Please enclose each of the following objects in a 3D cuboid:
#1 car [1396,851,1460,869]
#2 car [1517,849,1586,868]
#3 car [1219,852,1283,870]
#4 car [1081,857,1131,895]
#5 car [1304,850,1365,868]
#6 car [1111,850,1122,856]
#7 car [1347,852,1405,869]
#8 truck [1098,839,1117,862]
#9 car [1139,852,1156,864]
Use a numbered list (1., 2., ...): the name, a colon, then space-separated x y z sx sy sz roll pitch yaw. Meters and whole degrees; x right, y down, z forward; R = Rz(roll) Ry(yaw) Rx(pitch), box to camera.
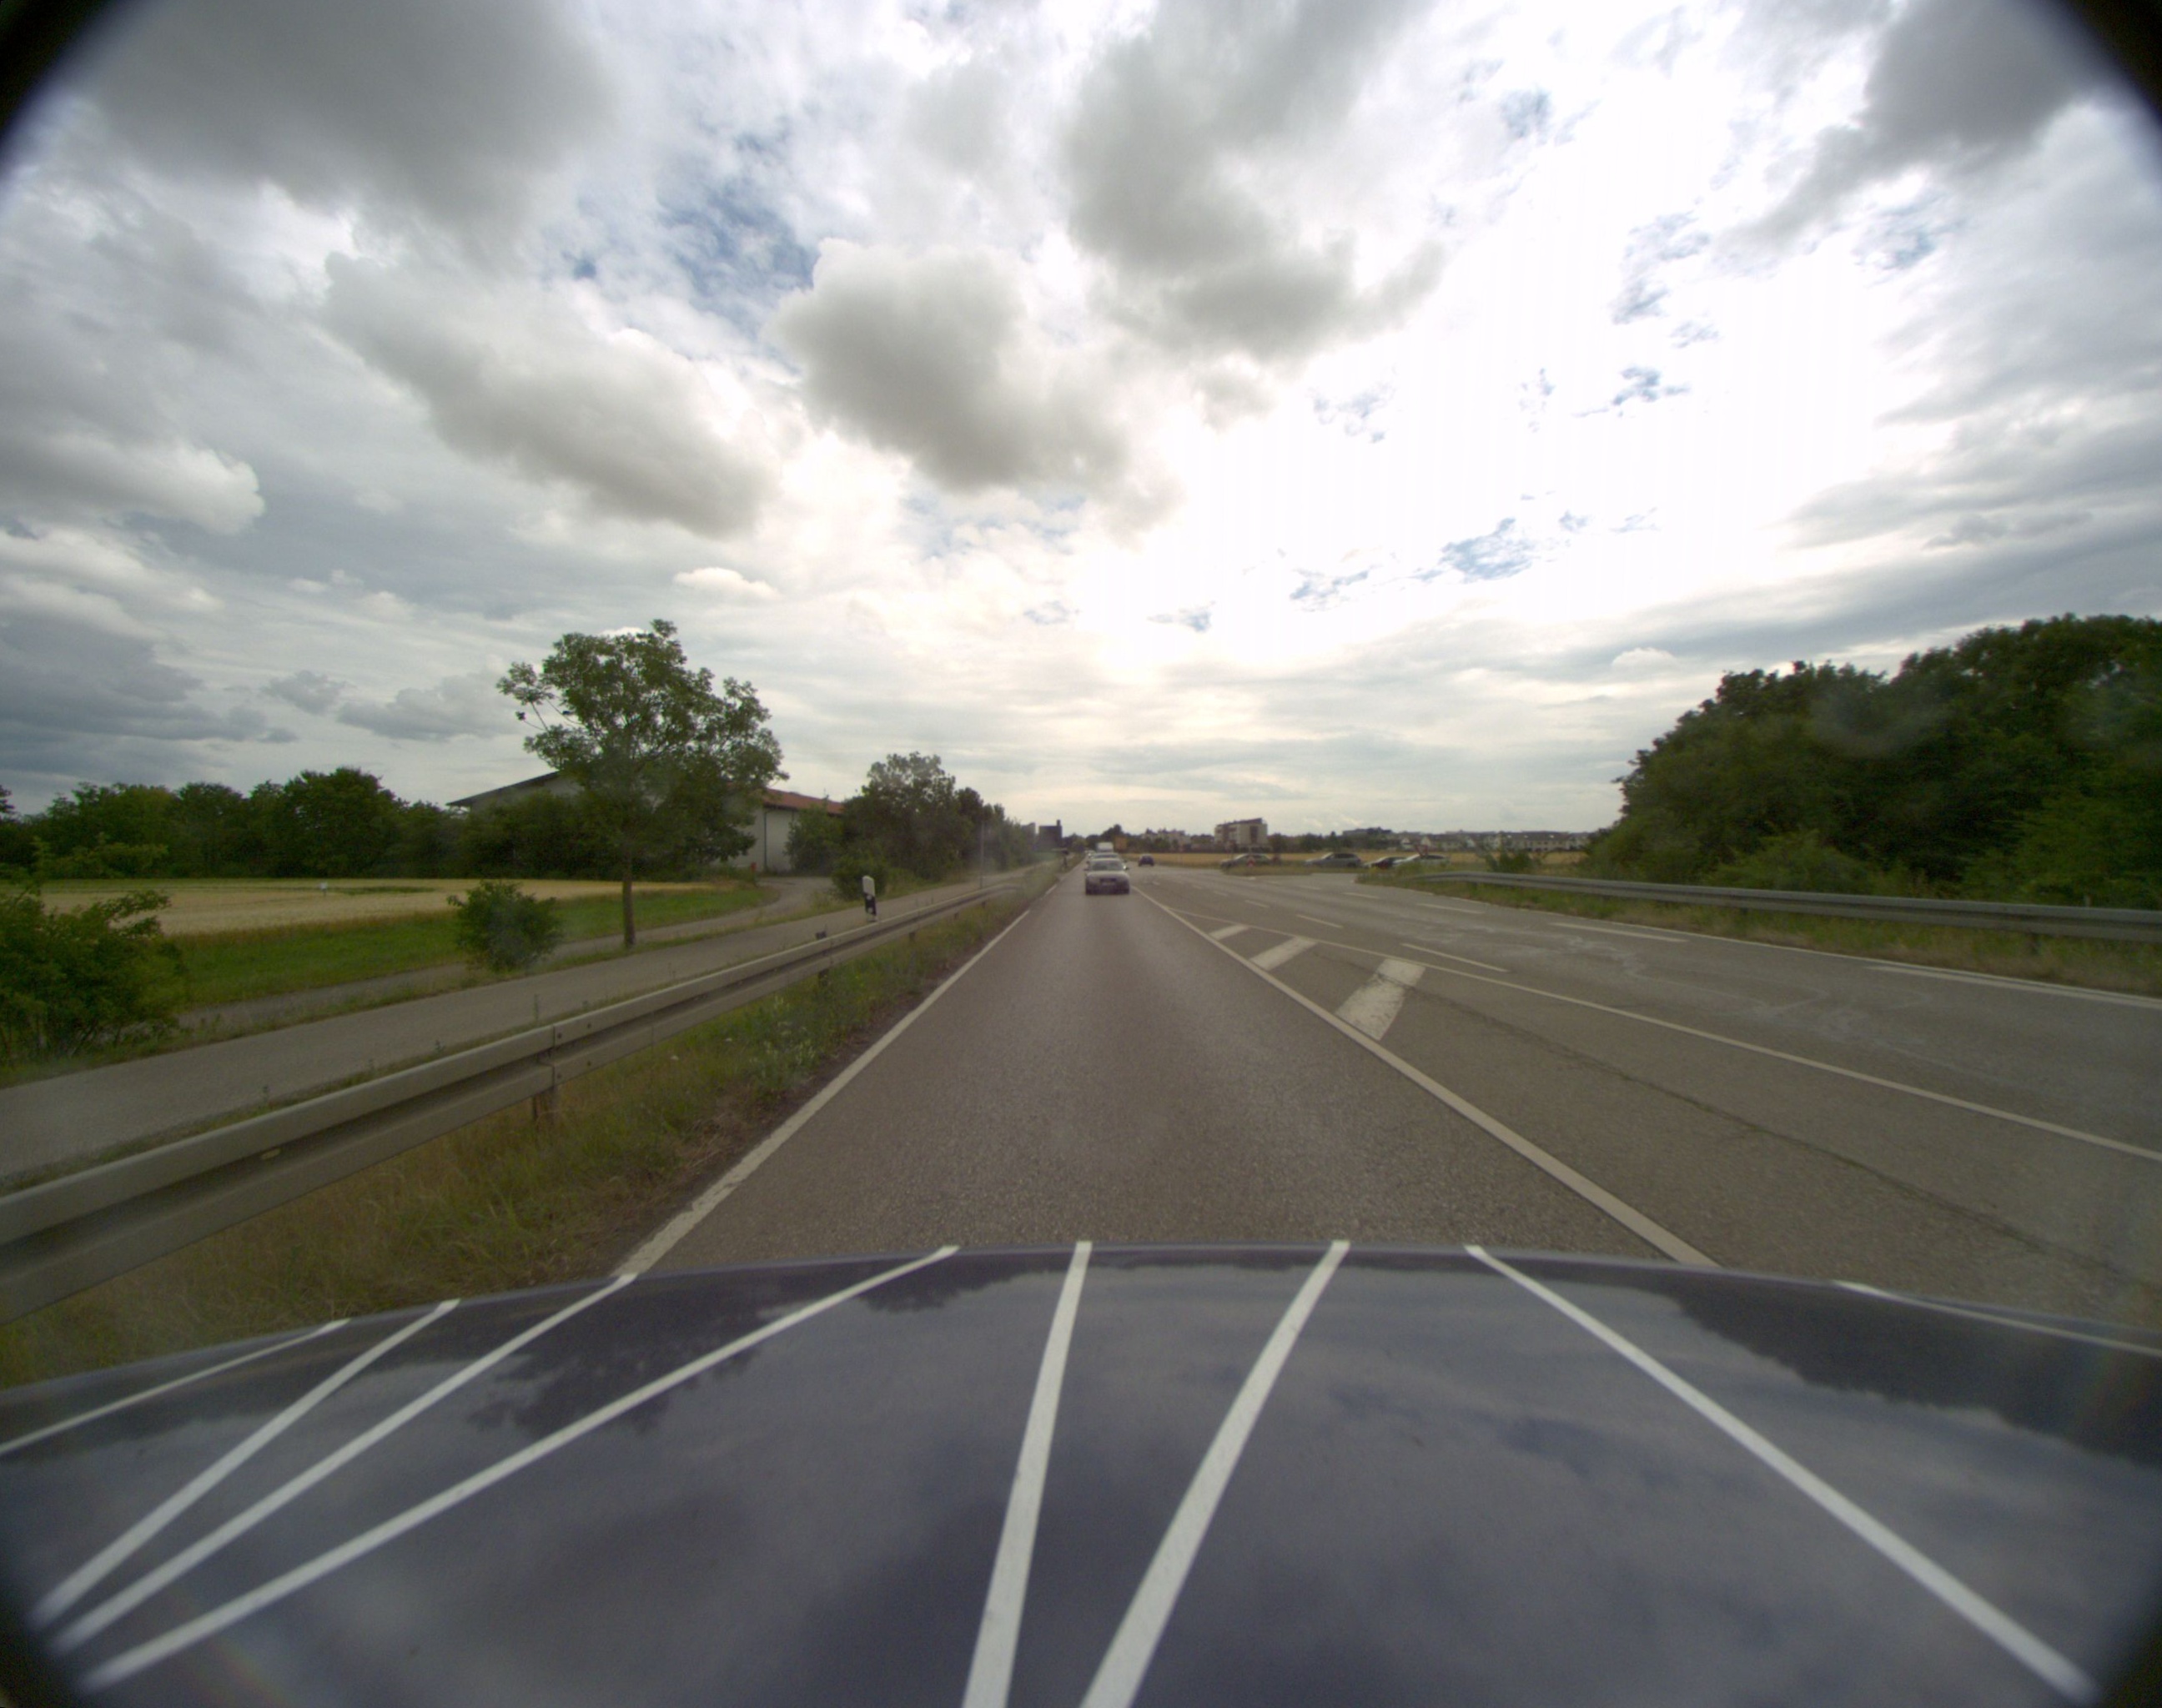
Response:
1. car: 29.116 0.537 63.888 4.500 1.474 1.912 0 1 7
2. car: 39.125 0.362 63.286 4.500 1.474 1.912 0 1 7
3. car: 14.678 0.586 65.857 5.295 1.512 1.912 0 1 7
4. car: 1.056 0.868 31.577 1.909 1.416 4.465 0 1 2
5. car: 21.722 0.455 65.237 4.632 1.508 1.912 0 1 7
6. car: 8.016 -0.211 171.523 2.170 1.277 4.237 -2 0 0
7. car: 26.019 0.580 67.129 4.406 1.474 1.912 0 1 7
8. truck: 4.216 -0.572 122.664 2.813 3.588 11.219 0 1 1
9. car: 8.029 0.453 92.205 1.867 1.368 4.000 -1 0 2
